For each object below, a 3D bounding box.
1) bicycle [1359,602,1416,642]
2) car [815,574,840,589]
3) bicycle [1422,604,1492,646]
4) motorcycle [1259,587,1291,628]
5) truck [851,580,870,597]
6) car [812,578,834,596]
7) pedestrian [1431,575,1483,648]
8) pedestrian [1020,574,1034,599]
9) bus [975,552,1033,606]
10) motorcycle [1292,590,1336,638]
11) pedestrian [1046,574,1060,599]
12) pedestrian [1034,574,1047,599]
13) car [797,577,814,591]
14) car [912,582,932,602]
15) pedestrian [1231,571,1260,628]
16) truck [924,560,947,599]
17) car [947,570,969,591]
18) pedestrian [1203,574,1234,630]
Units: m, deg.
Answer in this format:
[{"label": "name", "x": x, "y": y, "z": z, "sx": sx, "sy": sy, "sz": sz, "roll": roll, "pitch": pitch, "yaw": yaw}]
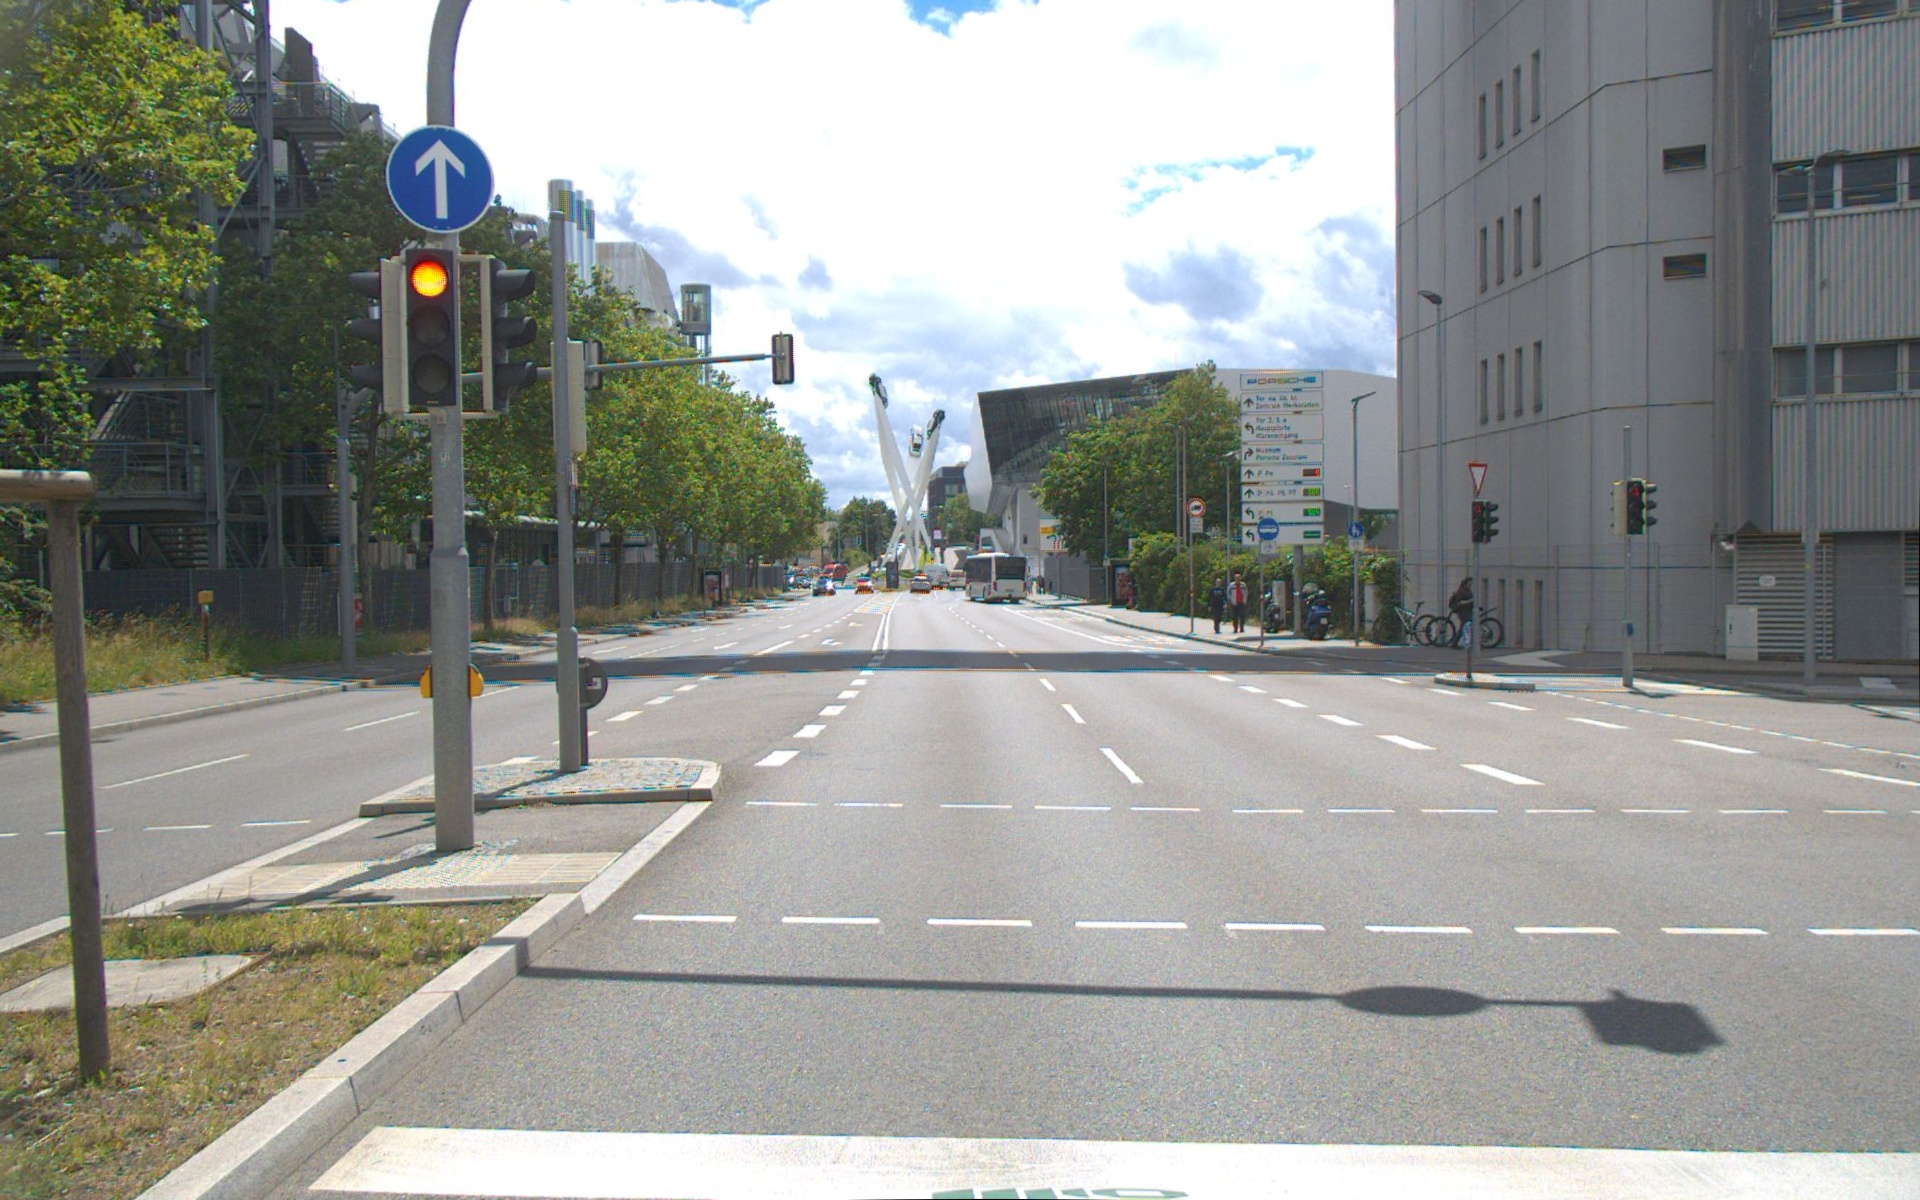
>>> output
[{"label": "bicycle", "x": 10.616, "y": 0.543, "z": 41.113, "sx": 0.391, "sy": 0.953, "sz": 1.917, "roll": 0, "pitch": 0, "yaw": -19}, {"label": "car", "x": -18.141, "y": -2.525, "z": 226.332, "sx": 1.952, "sy": 2.049, "sz": 4.000, "roll": 0, "pitch": 0, "yaw": 21}, {"label": "bicycle", "x": 11.650, "y": 0.577, "z": 38.842, "sx": 0.392, "sy": 0.953, "sz": 1.912, "roll": 0, "pitch": 0, "yaw": -26}, {"label": "motorcycle", "x": 10.066, "y": 0.226, "z": 52.887, "sx": 0.562, "sy": 1.224, "sz": 2.024, "roll": -2, "pitch": 1, "yaw": -1}, {"label": "truck", "x": -9.092, "y": -1.023, "z": 151.559, "sx": 1.553, "sy": 1.564, "sz": 3.673, "roll": 0, "pitch": 0, "yaw": -6}, {"label": "car", "x": -12.439, "y": -1.204, "z": 150.212, "sx": 1.782, "sy": 1.564, "sz": 3.677, "roll": -2, "pitch": 0, "yaw": -2}, {"label": "pedestrian", "x": 11.473, "y": 0.256, "z": 38.164, "sx": 0.834, "sy": 1.653, "sz": 0.951, "roll": 0, "pitch": 0, "yaw": 40}, {"label": "pedestrian", "x": 5.640, "y": -1.150, "z": 139.066, "sx": 1.008, "sy": 2.049, "sz": 0.883, "roll": 1, "pitch": -1, "yaw": -5}, {"label": "bus", "x": 3.002, "y": -1.458, "z": 116.076, "sx": 3.383, "sy": 3.605, "sz": 10.601, "roll": 0, "pitch": 0, "yaw": -2}, {"label": "motorcycle", "x": 9.619, "y": 0.373, "z": 45.021, "sx": 0.692, "sy": 1.224, "sz": 2.024, "roll": -2, "pitch": 1, "yaw": -1}, {"label": "pedestrian", "x": 7.844, "y": -1.129, "z": 139.256, "sx": 1.008, "sy": 2.049, "sz": 0.883, "roll": 1, "pitch": -1, "yaw": -5}, {"label": "pedestrian", "x": 6.762, "y": -1.162, "z": 138.984, "sx": 1.008, "sy": 2.049, "sz": 0.883, "roll": 1, "pitch": -1, "yaw": -5}, {"label": "car", "x": -18.279, "y": -1.899, "z": 196.113, "sx": 1.782, "sy": 1.564, "sz": 3.676, "roll": -2, "pitch": 0, "yaw": -3}, {"label": "car", "x": -3.422, "y": -0.743, "z": 148.673, "sx": 1.703, "sy": 1.772, "sz": 3.691, "roll": 0, "pitch": 0, "yaw": -1}, {"label": "pedestrian", "x": 8.946, "y": -0.012, "z": 51.858, "sx": 0.803, "sy": 1.772, "sz": 0.637, "roll": 0, "pitch": 0, "yaw": -1}, {"label": "truck", "x": -2.532, "y": -2.130, "z": 172.085, "sx": 2.343, "sy": 3.965, "sz": 6.176, "roll": 0, "pitch": 0, "yaw": -1}, {"label": "car", "x": -0.161, "y": -1.936, "z": 165.590, "sx": 1.952, "sy": 2.049, "sz": 4.001, "roll": 1, "pitch": -1, "yaw": 3}, {"label": "pedestrian", "x": 8.117, "y": 0.069, "z": 51.977, "sx": 0.803, "sy": 1.737, "sz": 0.881, "roll": 0, "pitch": 0, "yaw": -1}]
